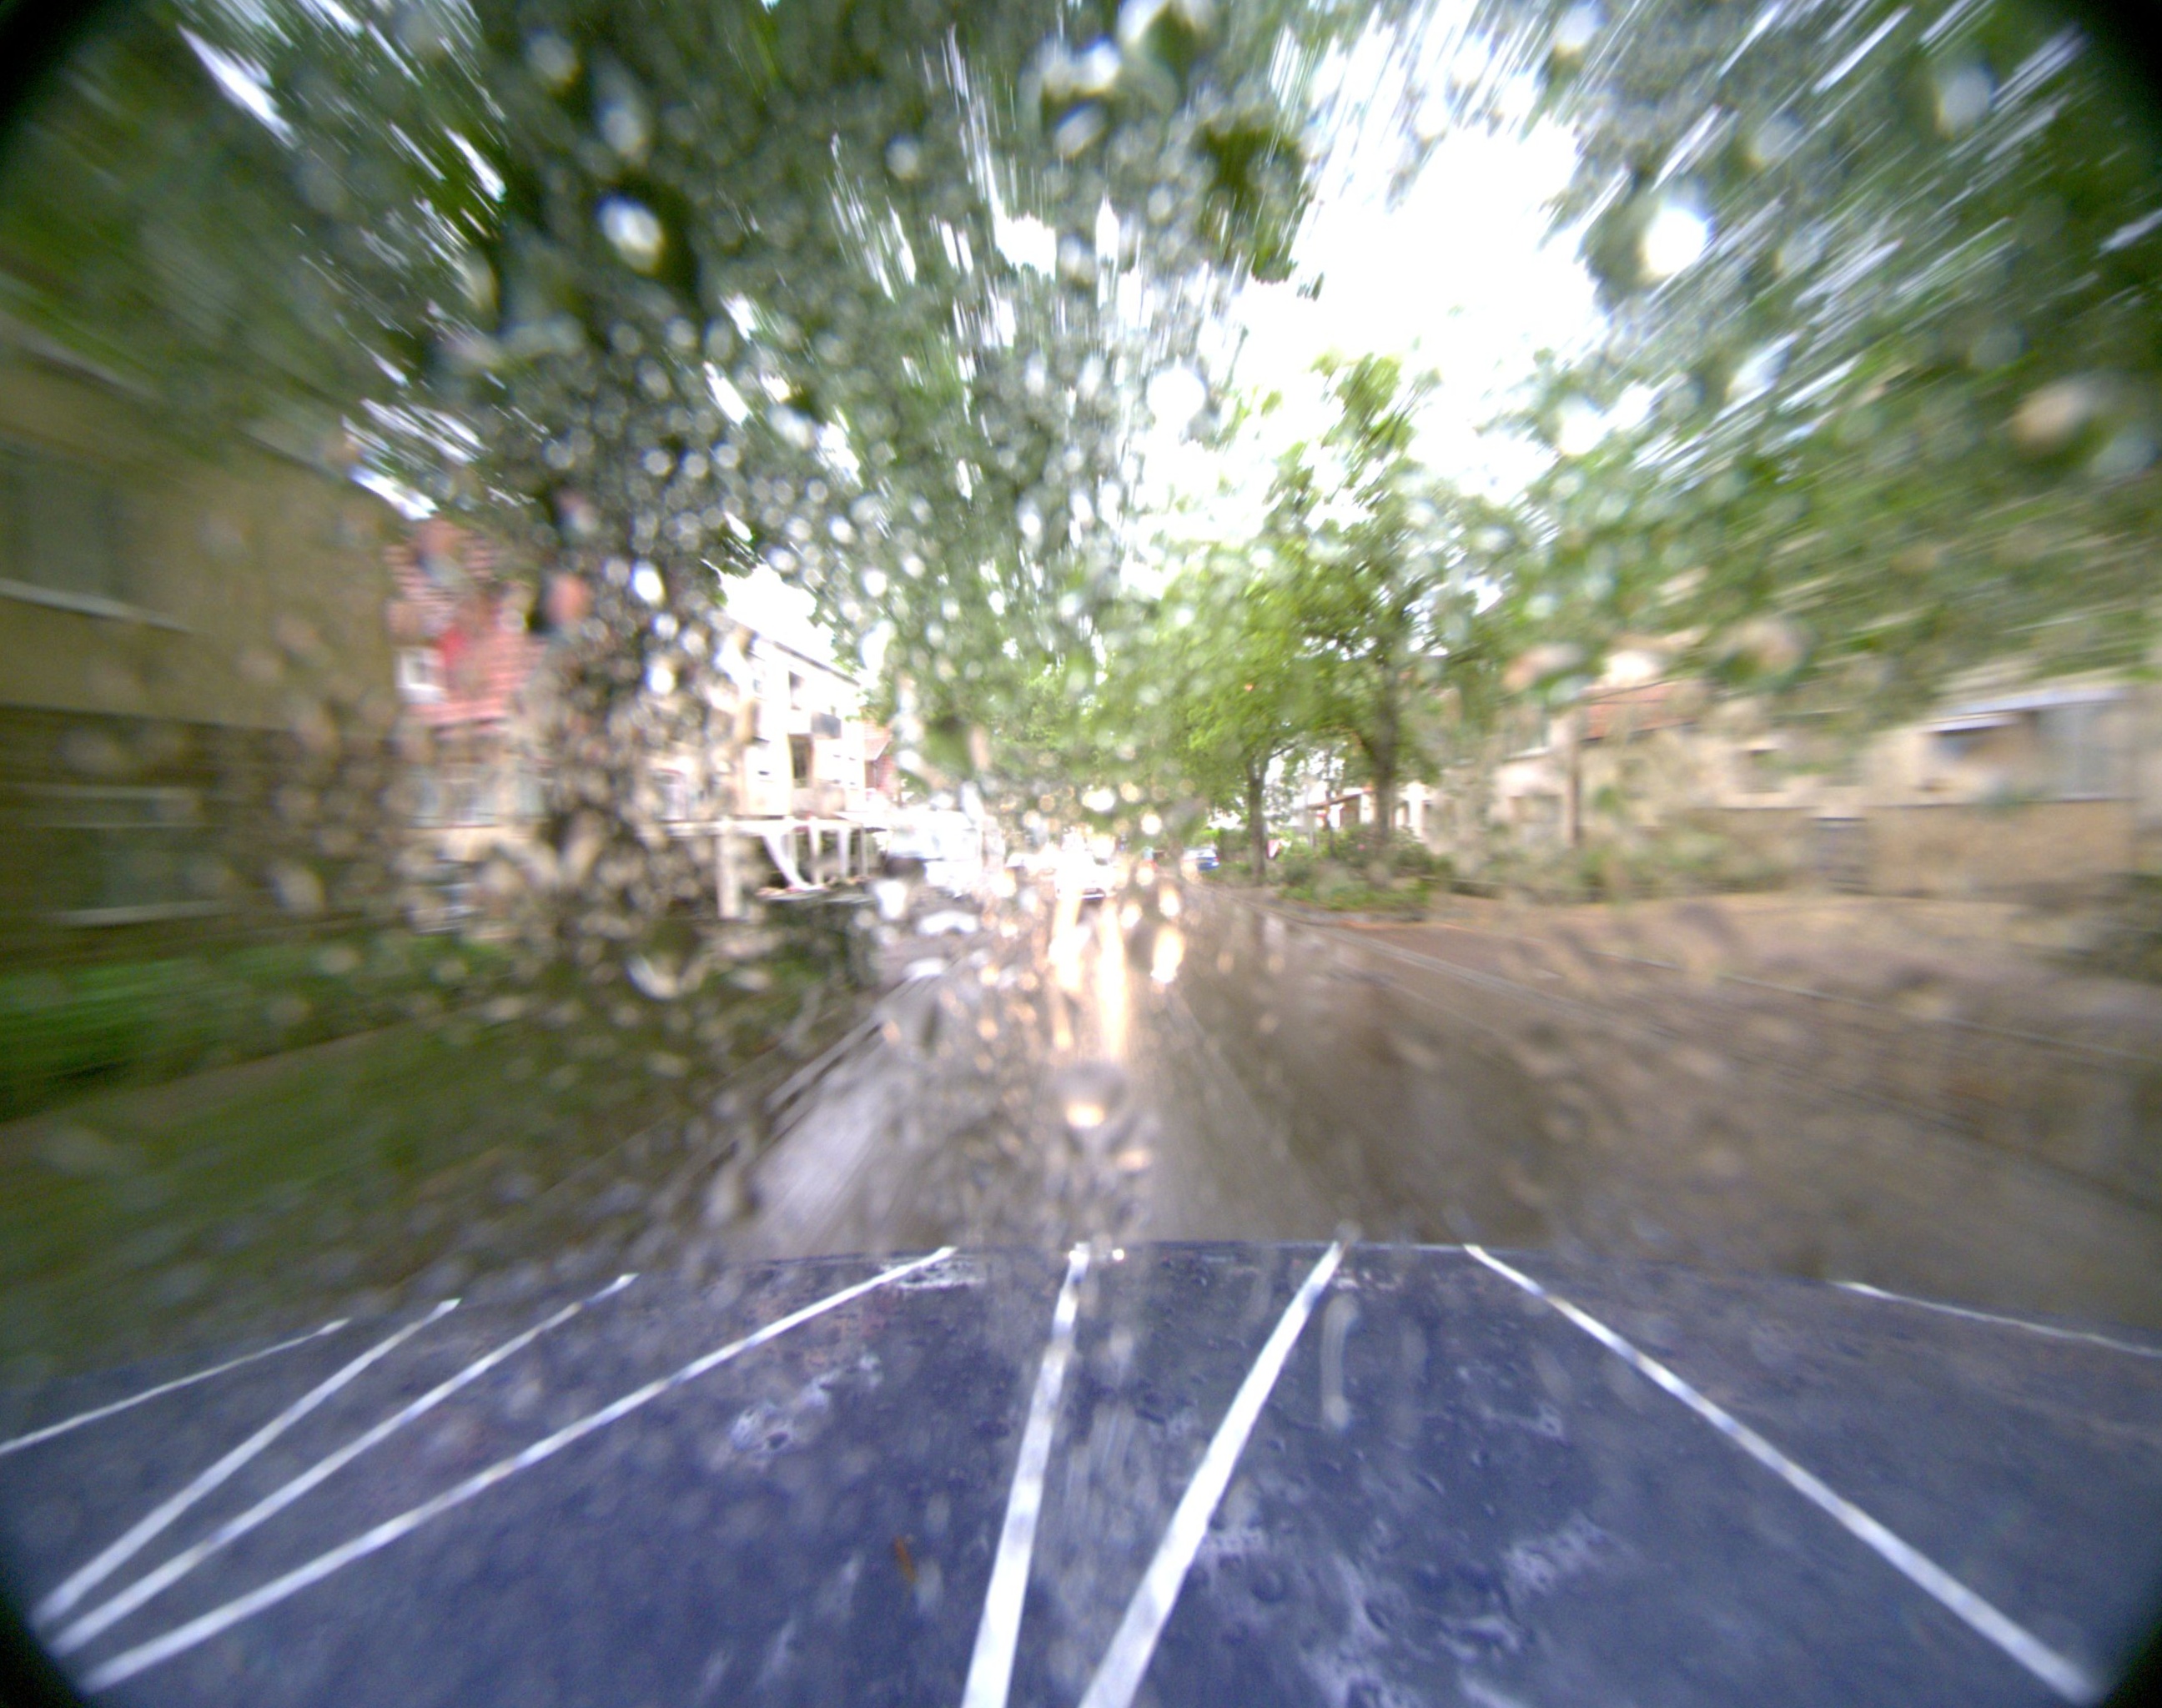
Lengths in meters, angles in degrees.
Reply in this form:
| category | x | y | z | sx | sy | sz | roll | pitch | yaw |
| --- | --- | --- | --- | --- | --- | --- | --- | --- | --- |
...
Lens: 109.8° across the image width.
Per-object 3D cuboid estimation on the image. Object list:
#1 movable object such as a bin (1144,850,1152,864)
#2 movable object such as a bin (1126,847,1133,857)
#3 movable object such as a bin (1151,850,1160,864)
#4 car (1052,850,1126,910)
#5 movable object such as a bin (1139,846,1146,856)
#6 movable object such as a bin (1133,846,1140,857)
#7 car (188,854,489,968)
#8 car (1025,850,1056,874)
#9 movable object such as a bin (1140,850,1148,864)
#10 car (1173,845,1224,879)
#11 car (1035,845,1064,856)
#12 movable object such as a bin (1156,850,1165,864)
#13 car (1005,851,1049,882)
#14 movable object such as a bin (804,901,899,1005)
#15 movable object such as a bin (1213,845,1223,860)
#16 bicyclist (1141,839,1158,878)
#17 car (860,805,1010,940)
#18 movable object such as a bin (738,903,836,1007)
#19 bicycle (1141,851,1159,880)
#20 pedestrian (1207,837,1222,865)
| category | x | y | z | sx | sy | sz | roll | pitch | yaw |
| --- | --- | --- | --- | --- | --- | --- | --- | --- | --- |
| movable object such as a bin | 5.202 | 0.254 | 59.038 | 0.665 | 1.061 | 0.596 | -1 | 2 | 5 |
| movable object such as a bin | 5.061 | -0.210 | 79.851 | 0.585 | 1.071 | 0.570 | -4 | 1 | -1 |
| movable object such as a bin | 5.881 | 0.213 | 59.732 | 0.665 | 1.068 | 0.596 | -1 | 2 | 5 |
| car | 0.305 | 0.662 | 21.419 | 1.828 | 1.451 | 3.875 | -3 | 1 | 3 |
| movable object such as a bin | 6.509 | -0.327 | 79.922 | 0.618 | 1.053 | 0.561 | -4 | 1 | -1 |
| movable object such as a bin | 5.843 | -0.277 | 79.919 | 0.618 | 1.053 | 0.568 | -4 | 1 | -1 |
| car | -11.553 | 0.825 | 11.952 | 3.291 | 1.587 | 1.662 | 0 | 2 | 8 |
| car | -2.465 | 0.454 | 47.089 | 1.685 | 1.391 | 3.794 | -1 | 1 | 0 |
| movable object such as a bin | 4.959 | 0.240 | 59.798 | 0.665 | 1.068 | 0.596 | -1 | 2 | 5 |
| car | 5.293 | 0.309 | 34.681 | 1.754 | 1.388 | 3.795 | -2 | 1 | 1 |
| car | -4.719 | -0.519 | 114.751 | 4.270 | 1.451 | 1.829 | -3 | 0 | -1 |
| movable object such as a bin | 6.163 | 0.227 | 59.072 | 0.665 | 1.068 | 0.596 | -1 | 2 | 5 |
| car | -2.619 | 0.583 | 37.603 | 1.813 | 1.403 | 3.783 | -2 | 1 | 0 |
| movable object such as a bin | -2.670 | 1.135 | 8.929 | 0.799 | 1.069 | 0.878 | -2 | 1 | 0 |
| movable object such as a bin | 10.647 | -0.135 | 58.914 | 0.664 | 1.126 | 0.659 | -2 | 1 | 3 |
| bicyclist | 3.080 | 0.178 | 34.313 | 0.629 | 1.721 | 0.880 | -2 | 1 | 0 |
| car | -2.994 | 0.315 | 16.998 | 2.146 | 2.446 | 5.434 | -2 | 1 | 1 |
| movable object such as a bin | -3.443 | 1.167 | 8.971 | 0.750 | 1.069 | 0.878 | -2 | 1 | 0 |
| bicycle | 3.085 | 0.497 | 34.056 | 0.629 | 1.202 | 1.981 | -2 | 1 | 0 |
| pedestrian | 7.583 | -0.164 | 43.287 | 0.651 | 1.585 | 0.932 | -2 | 1 | 1 |
